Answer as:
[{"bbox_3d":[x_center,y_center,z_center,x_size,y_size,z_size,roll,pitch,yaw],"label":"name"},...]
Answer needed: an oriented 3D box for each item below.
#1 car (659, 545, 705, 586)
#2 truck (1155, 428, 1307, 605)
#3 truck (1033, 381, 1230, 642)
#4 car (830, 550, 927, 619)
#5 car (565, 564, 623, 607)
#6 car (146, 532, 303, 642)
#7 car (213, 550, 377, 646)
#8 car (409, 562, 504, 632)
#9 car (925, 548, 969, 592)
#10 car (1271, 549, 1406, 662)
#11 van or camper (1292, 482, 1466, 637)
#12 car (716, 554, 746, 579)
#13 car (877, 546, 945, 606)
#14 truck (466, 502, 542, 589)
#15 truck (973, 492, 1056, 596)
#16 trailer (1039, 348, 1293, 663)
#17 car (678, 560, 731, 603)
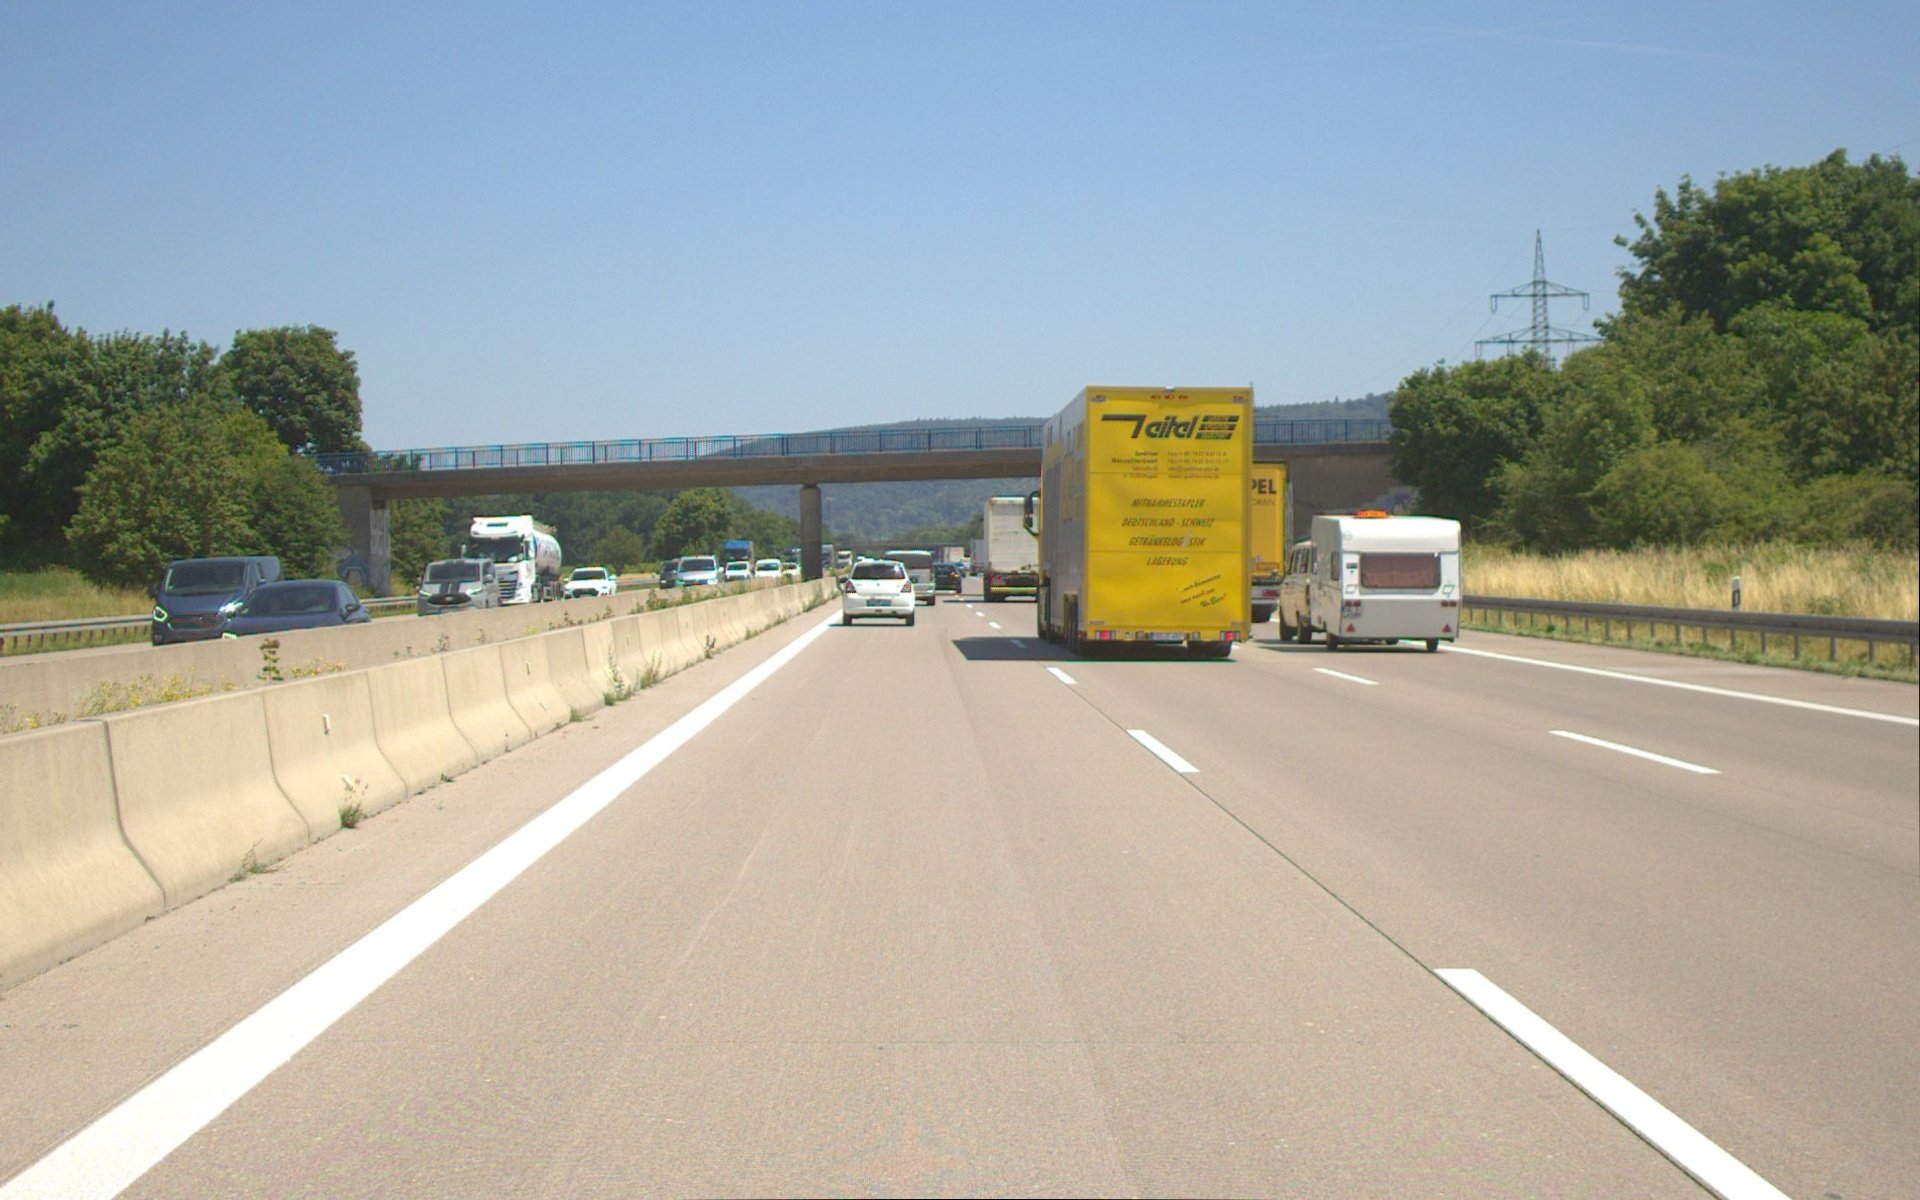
[{"bbox_3d":[-15.111,-1.907,187.111,1.993,2.130,5.882,-2,1,-1],"label":"car"},{"bbox_3d":[6.930,-2.143,89.271,2.999,4.299,9.684,1,1,-1],"label":"truck"},{"bbox_3d":[3.078,-1.610,63.402,3.216,4.548,5.836,1,1,0],"label":"truck"},{"bbox_3d":[-1.887,-0.390,80.887,2.107,1.530,4.122,1,1,1],"label":"car"},{"bbox_3d":[-15.048,-0.611,141.482,1.923,1.606,4.686,-2,1,-1],"label":"car"},{"bbox_3d":[-14.200,-0.303,66.648,1.931,1.993,5.518,1,1,-1],"label":"car"},{"bbox_3d":[-9.730,-0.058,50.523,1.690,1.327,4.000,1,1,-1],"label":"car"},{"bbox_3d":[-14.946,-0.115,102.364,1.993,1.933,5.690,-2,1,-1],"label":"car"},{"bbox_3d":[-0.642,-1.419,162.950,1.993,2.007,4.000,1,1,-1],"label":"car"},{"bbox_3d":[7.023,0.063,64.162,1.993,2.007,4.000,1,1,-1],"label":"car"},{"bbox_3d":[7.169,-0.720,59.392,2.224,2.522,5.431,1,1,-1],"label":"van or camper"},{"bbox_3d":[-17.010,-2.530,255.598,1.993,1.800,4.000,1,1,-1],"label":"car"},{"bbox_3d":[-1.664,-0.851,118.456,2.254,2.007,4.298,1,1,0],"label":"car"},{"bbox_3d":[-19.185,-2.309,144.903,2.601,3.576,4.720,1,1,-1],"label":"truck"},{"bbox_3d":[2.004,-2.081,127.994,2.820,3.748,6.284,1,1,-1],"label":"truck"},{"bbox_3d":[3.160,-1.494,56.909,3.216,4.548,13.457,1,1,0],"label":"trailer"},{"bbox_3d":[-11.102,-0.836,149.733,1.993,1.729,5.115,-2,1,-1],"label":"car"}]
